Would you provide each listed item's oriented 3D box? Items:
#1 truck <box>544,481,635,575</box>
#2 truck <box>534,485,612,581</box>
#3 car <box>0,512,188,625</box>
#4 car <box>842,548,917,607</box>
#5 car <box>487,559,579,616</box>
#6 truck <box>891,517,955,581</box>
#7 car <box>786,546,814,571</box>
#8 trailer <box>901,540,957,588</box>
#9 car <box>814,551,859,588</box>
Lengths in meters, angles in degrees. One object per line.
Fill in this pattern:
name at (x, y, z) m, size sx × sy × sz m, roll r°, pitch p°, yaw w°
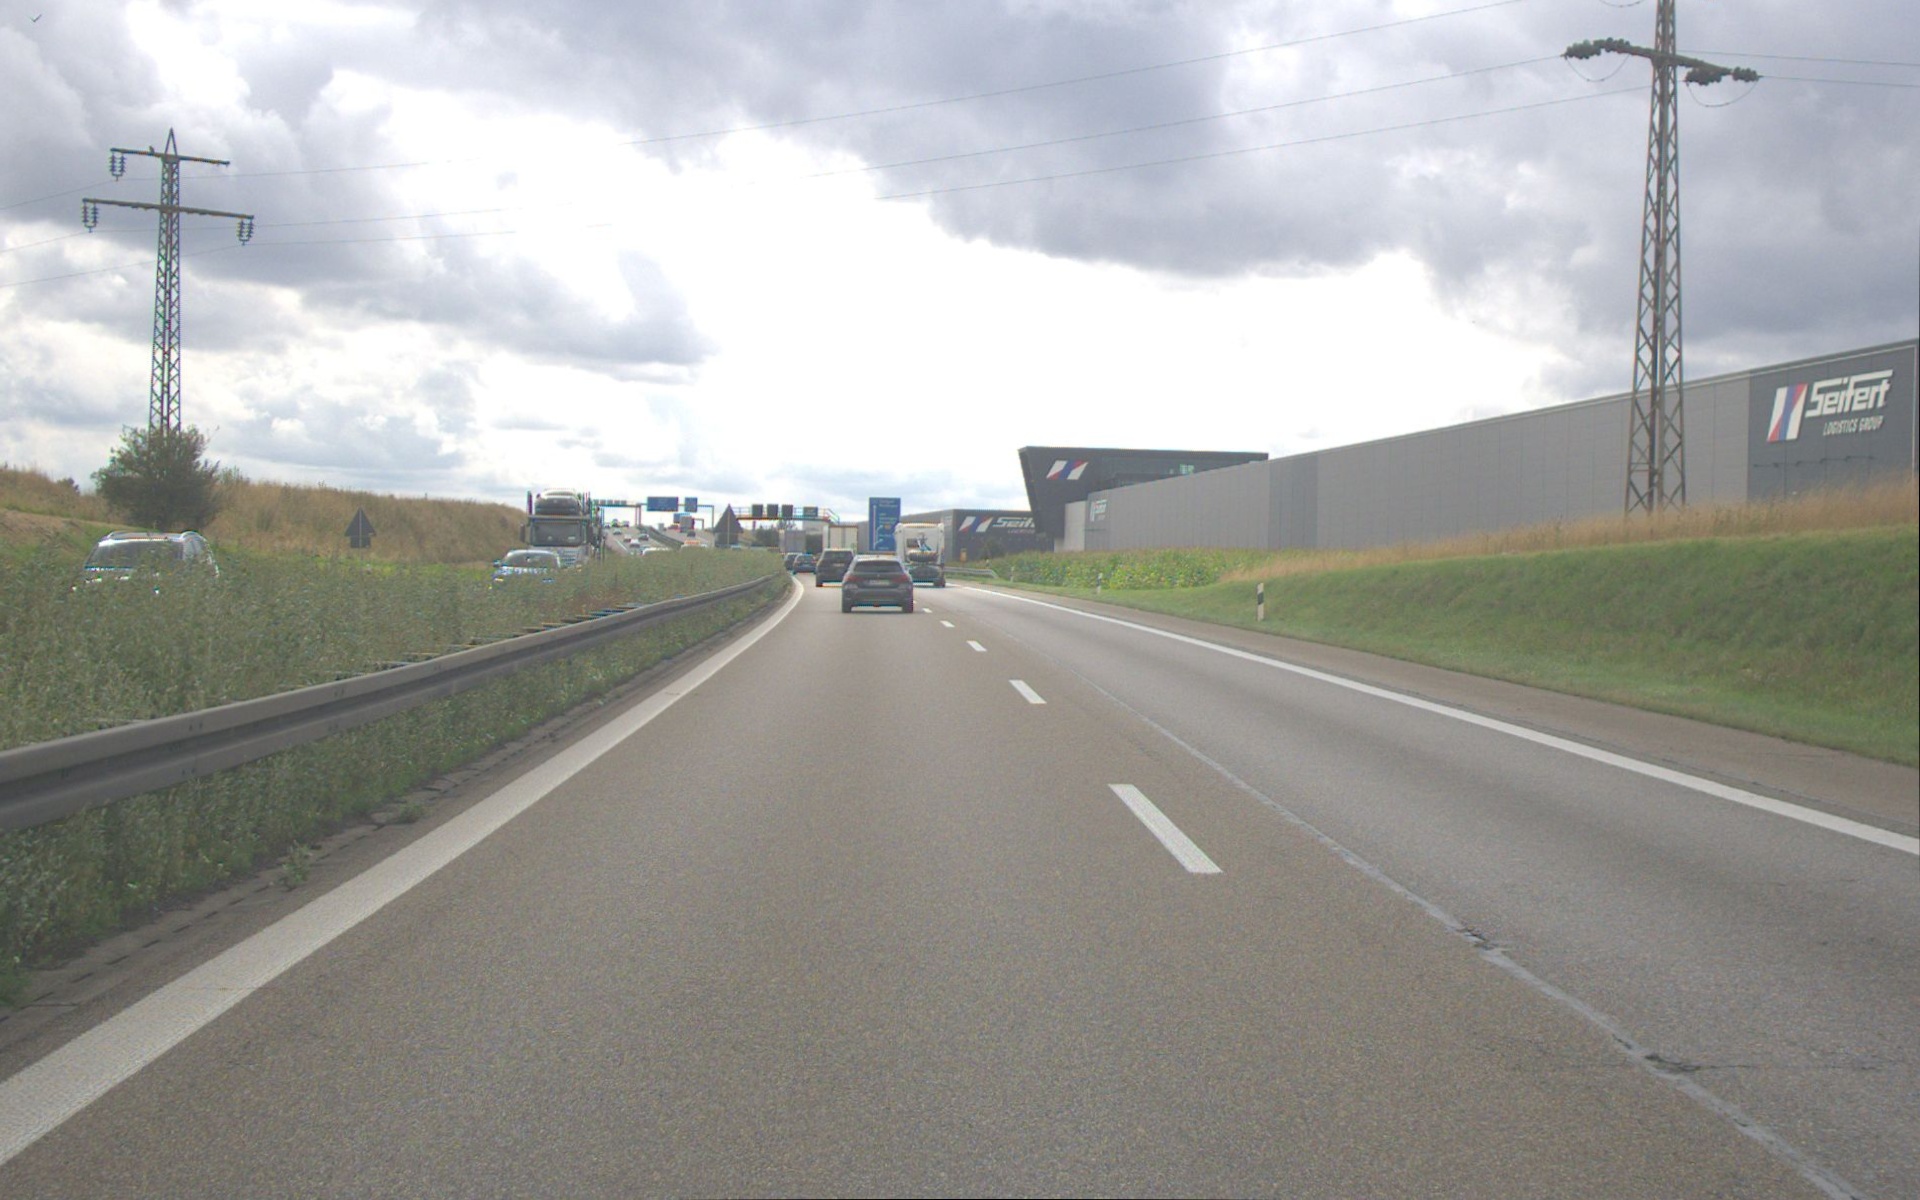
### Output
truck at (-16.400, -3.180, 153.333) m, size 2.723 × 3.922 × 17.403 m, roll 0°, pitch 1°, yaw -2°
truck at (-16.140, -2.806, 143.655) m, size 2.723 × 3.922 × 5.987 m, roll 0°, pitch 1°, yaw -2°
car at (-13.002, -0.475, 51.507) m, size 1.928 × 1.570 × 5.623 m, roll 1°, pitch 1°, yaw -3°
car at (-2.070, -0.579, 87.385) m, size 1.746 × 1.448 × 4.001 m, roll 1°, pitch 1°, yaw -3°
car at (-11.284, -0.355, 91.121) m, size 1.993 × 1.452 × 4.444 m, roll 1°, pitch 1°, yaw -2°
truck at (-1.773, -2.412, 163.680) m, size 2.481 × 2.940 × 5.816 m, roll 1°, pitch 1°, yaw -6°
car at (-11.675, -3.032, 251.074) m, size 1.943 × 1.769 × 3.696 m, roll 1°, pitch 1°, yaw -2°
trailer at (-1.439, -1.650, 156.816) m, size 2.338 × 2.129 × 4.001 m, roll 1°, pitch 1°, yaw -4°
car at (-5.650, -1.395, 156.984) m, size 1.945 × 1.679 × 4.001 m, roll 1°, pitch 1°, yaw -4°
